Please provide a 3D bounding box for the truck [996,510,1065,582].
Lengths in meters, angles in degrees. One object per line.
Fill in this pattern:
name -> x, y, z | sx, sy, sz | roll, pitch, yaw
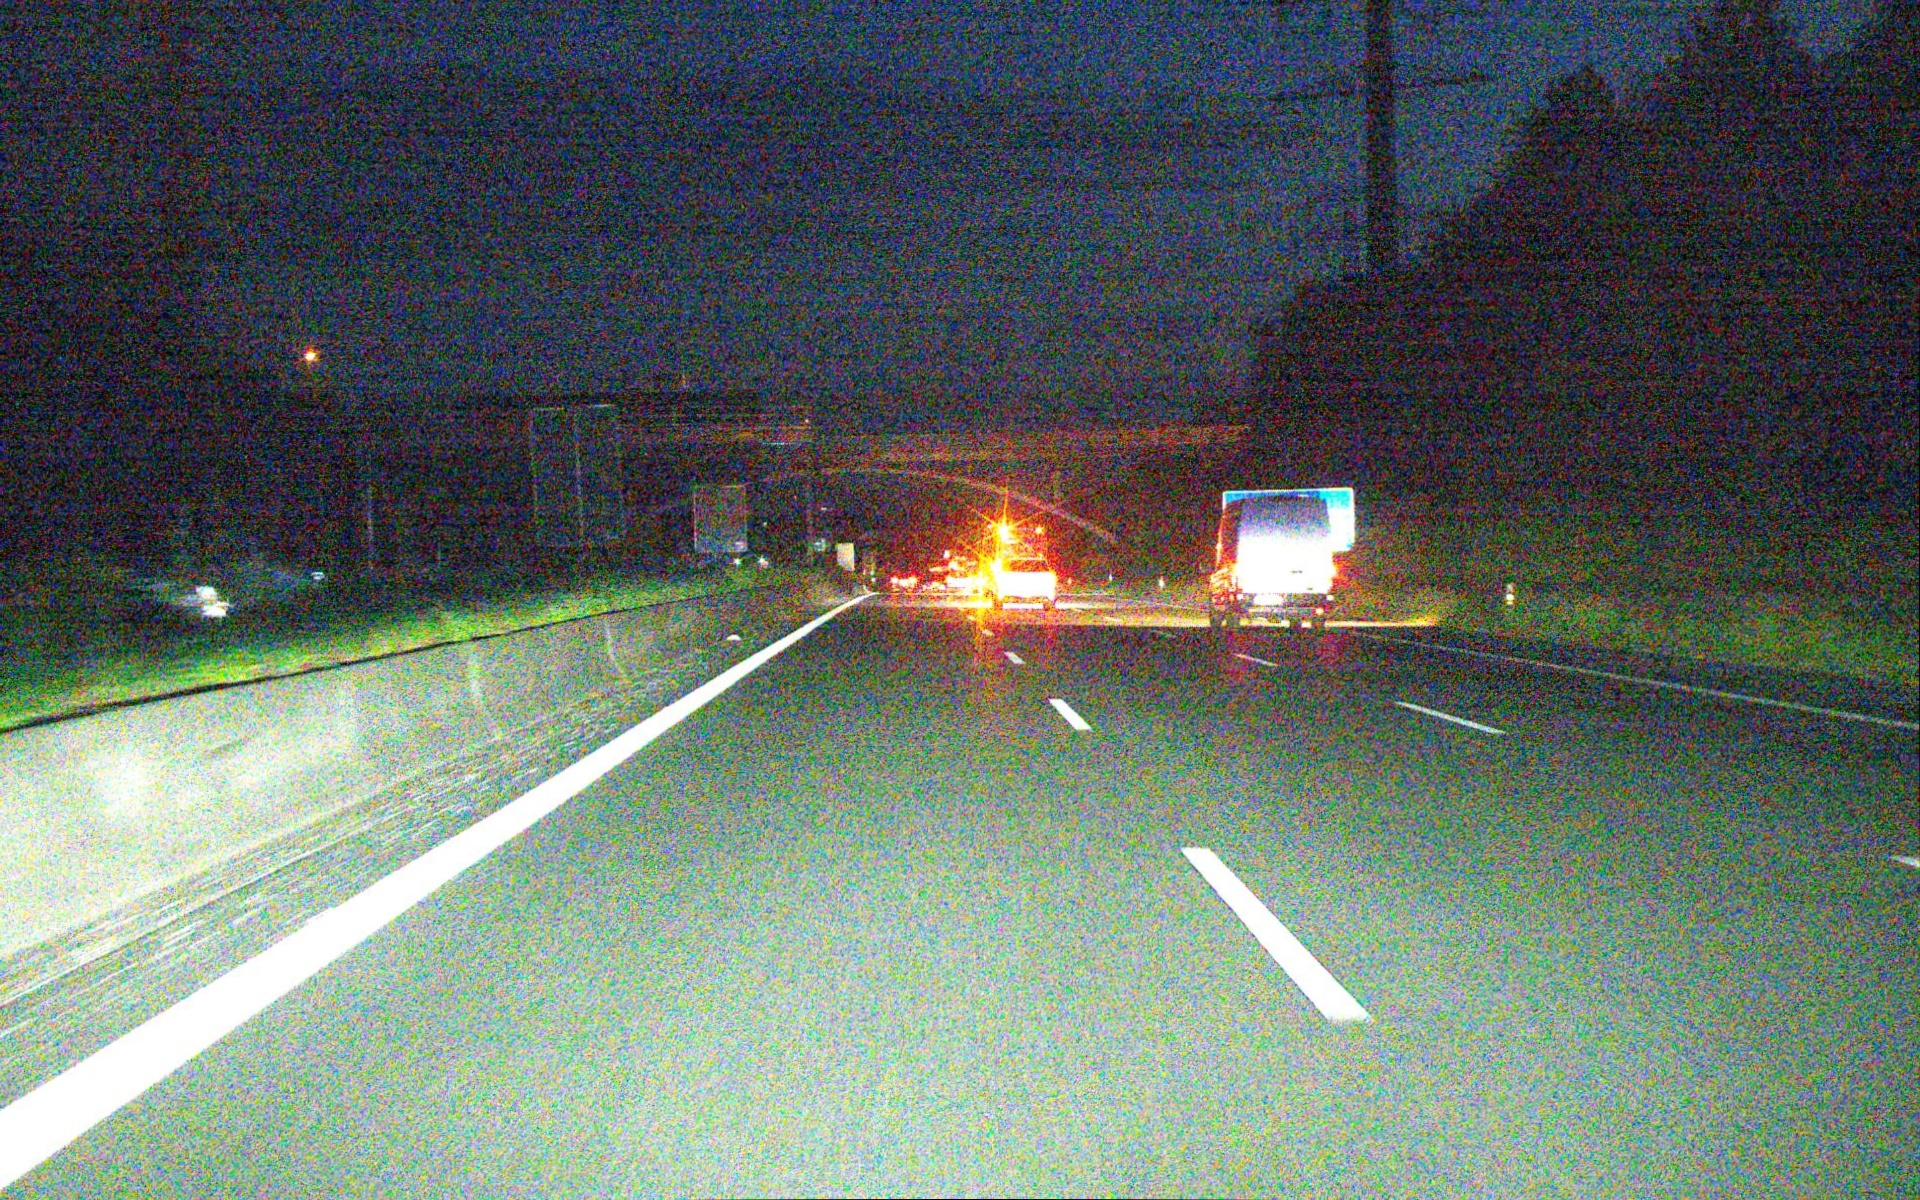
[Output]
truck -> 3.325, -2.653, 165.244 | 3.044, 3.313, 10.142 | 1, 2, 0

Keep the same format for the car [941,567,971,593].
car -> -0.237, -1.244, 211.083 | 1.821, 1.461, 4.248 | 1, 1, 0

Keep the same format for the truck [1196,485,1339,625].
truck -> 6.347, -0.869, 71.695 | 2.076, 2.682, 7.308 | 1, -1, -2

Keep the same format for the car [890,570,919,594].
car -> -3.766, -1.235, 233.293 | 1.821, 1.461, 4.248 | 1, 1, 0

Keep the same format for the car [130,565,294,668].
car -> -12.894, 0.299, 59.565 | 1.792, 1.678, 5.170 | 1, -1, -1

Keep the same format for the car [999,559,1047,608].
car -> 1.887, -0.521, 103.590 | 1.346, 1.382, 3.501 | 1, 1, 0
